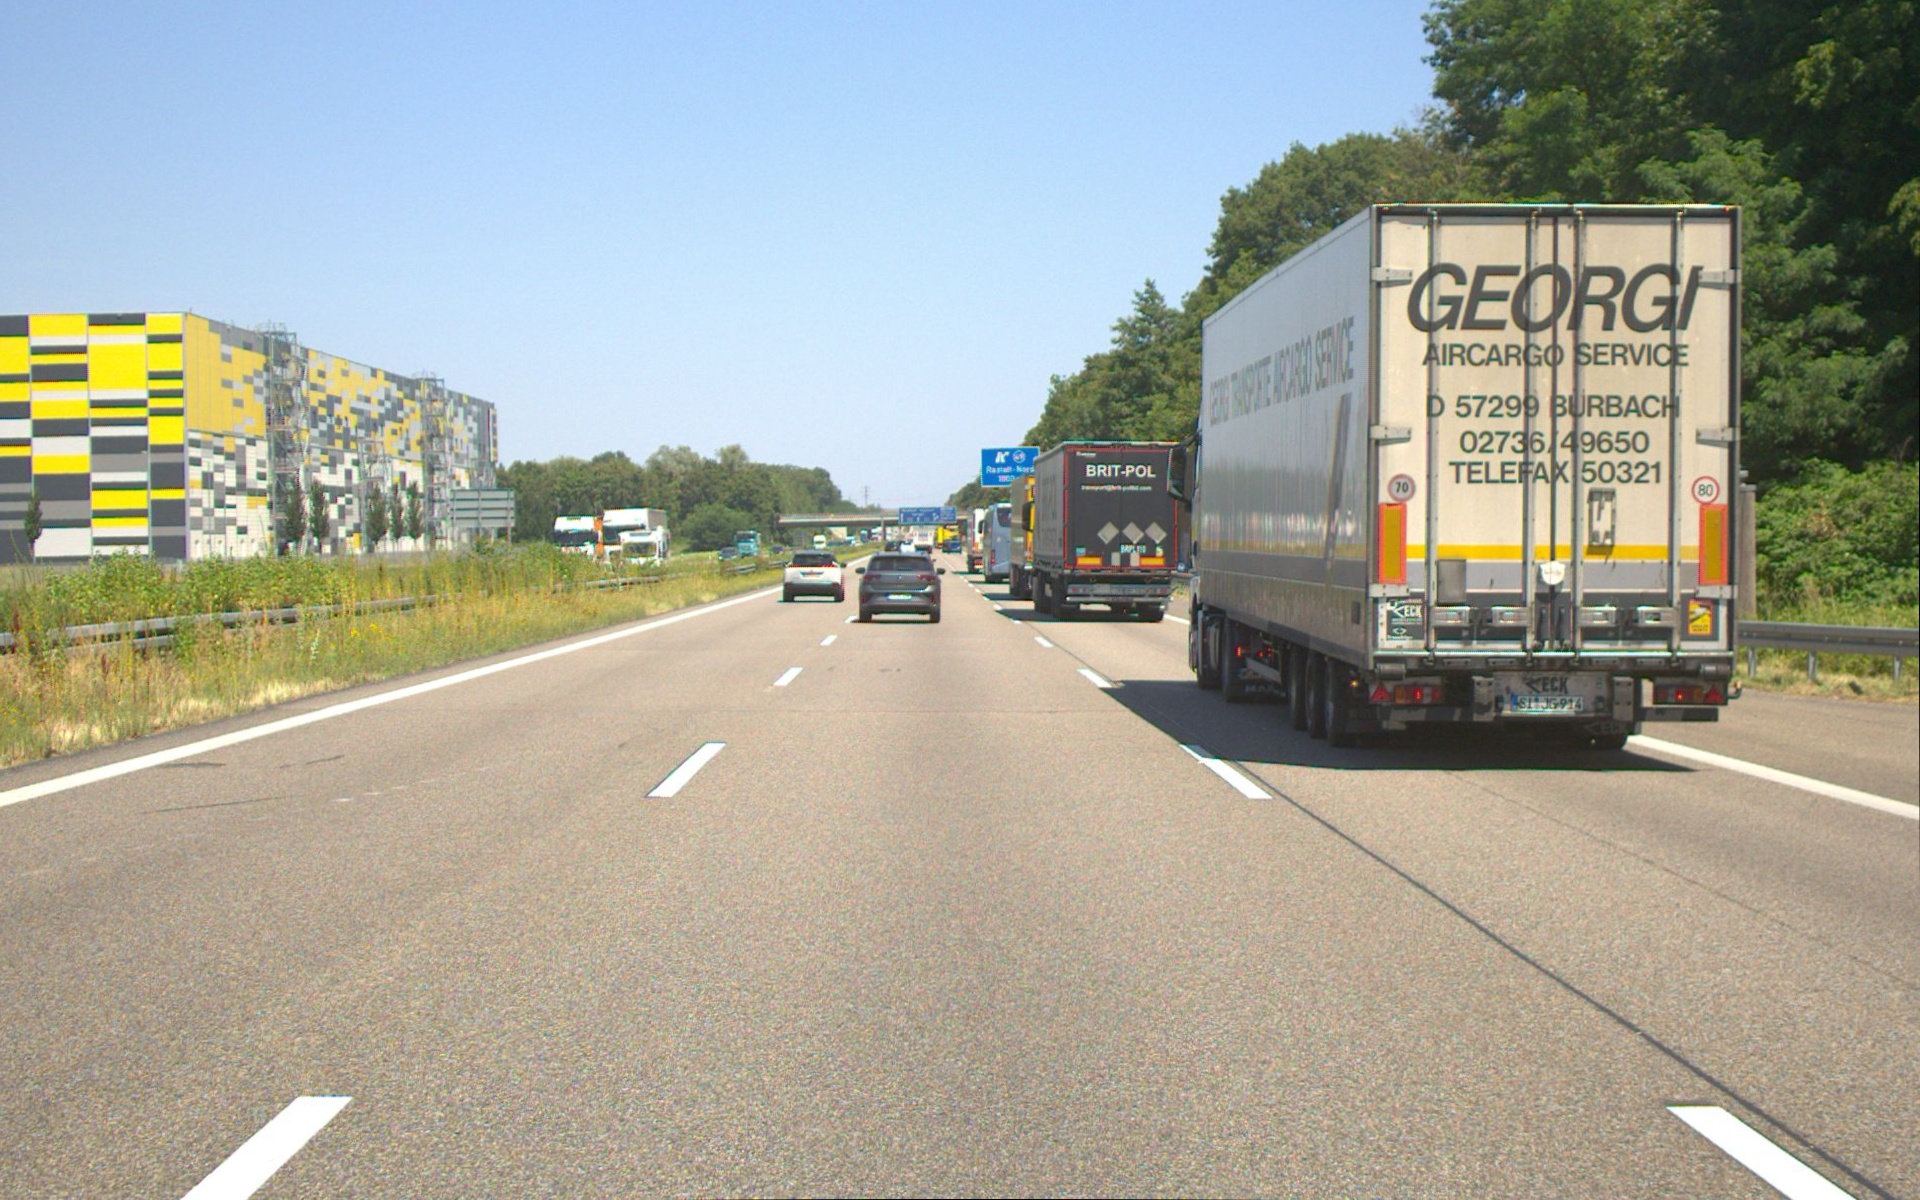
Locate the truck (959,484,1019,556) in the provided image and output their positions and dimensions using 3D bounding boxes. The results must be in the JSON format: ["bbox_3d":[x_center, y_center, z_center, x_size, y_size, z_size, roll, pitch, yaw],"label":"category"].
[{"bbox_3d":[1.705,-4.712,204.623,3.422,4.112,9.565,-1,1,0],"label":"truck"}]

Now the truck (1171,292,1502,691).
[{"bbox_3d":[4.052,-1.145,38.157,3.002,4.110,5.253,0,1,-1],"label":"truck"}]

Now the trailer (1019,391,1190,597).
[{"bbox_3d":[3.307,-2.429,82.918,3.106,4.491,14.897,1,1,-1],"label":"trailer"}]

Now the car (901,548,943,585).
[{"bbox_3d":[-1.795,-1.576,161.055,1.941,1.700,4.000,0,1,-1],"label":"car"}]

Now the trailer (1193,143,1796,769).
[{"bbox_3d":[4.136,-1.095,30.395,2.993,4.274,13.419,1,1,-1],"label":"trailer"}]

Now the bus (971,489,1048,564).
[{"bbox_3d":[2.243,-3.372,158.261,3.062,3.315,8.275,-1,1,-2],"label":"bus"}]

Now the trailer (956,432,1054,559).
[{"bbox_3d":[1.395,-3.369,112.998,2.834,3.940,11.685,0,1,-1],"label":"trailer"}]

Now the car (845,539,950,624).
[{"bbox_3d":[-1.381,-0.448,76.288,2.216,1.784,5.394,-1,1,-1],"label":"car"}]

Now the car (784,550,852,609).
[{"bbox_3d":[-4.258,-0.632,103.806,1.993,1.722,4.131,0,1,-2],"label":"car"}]
